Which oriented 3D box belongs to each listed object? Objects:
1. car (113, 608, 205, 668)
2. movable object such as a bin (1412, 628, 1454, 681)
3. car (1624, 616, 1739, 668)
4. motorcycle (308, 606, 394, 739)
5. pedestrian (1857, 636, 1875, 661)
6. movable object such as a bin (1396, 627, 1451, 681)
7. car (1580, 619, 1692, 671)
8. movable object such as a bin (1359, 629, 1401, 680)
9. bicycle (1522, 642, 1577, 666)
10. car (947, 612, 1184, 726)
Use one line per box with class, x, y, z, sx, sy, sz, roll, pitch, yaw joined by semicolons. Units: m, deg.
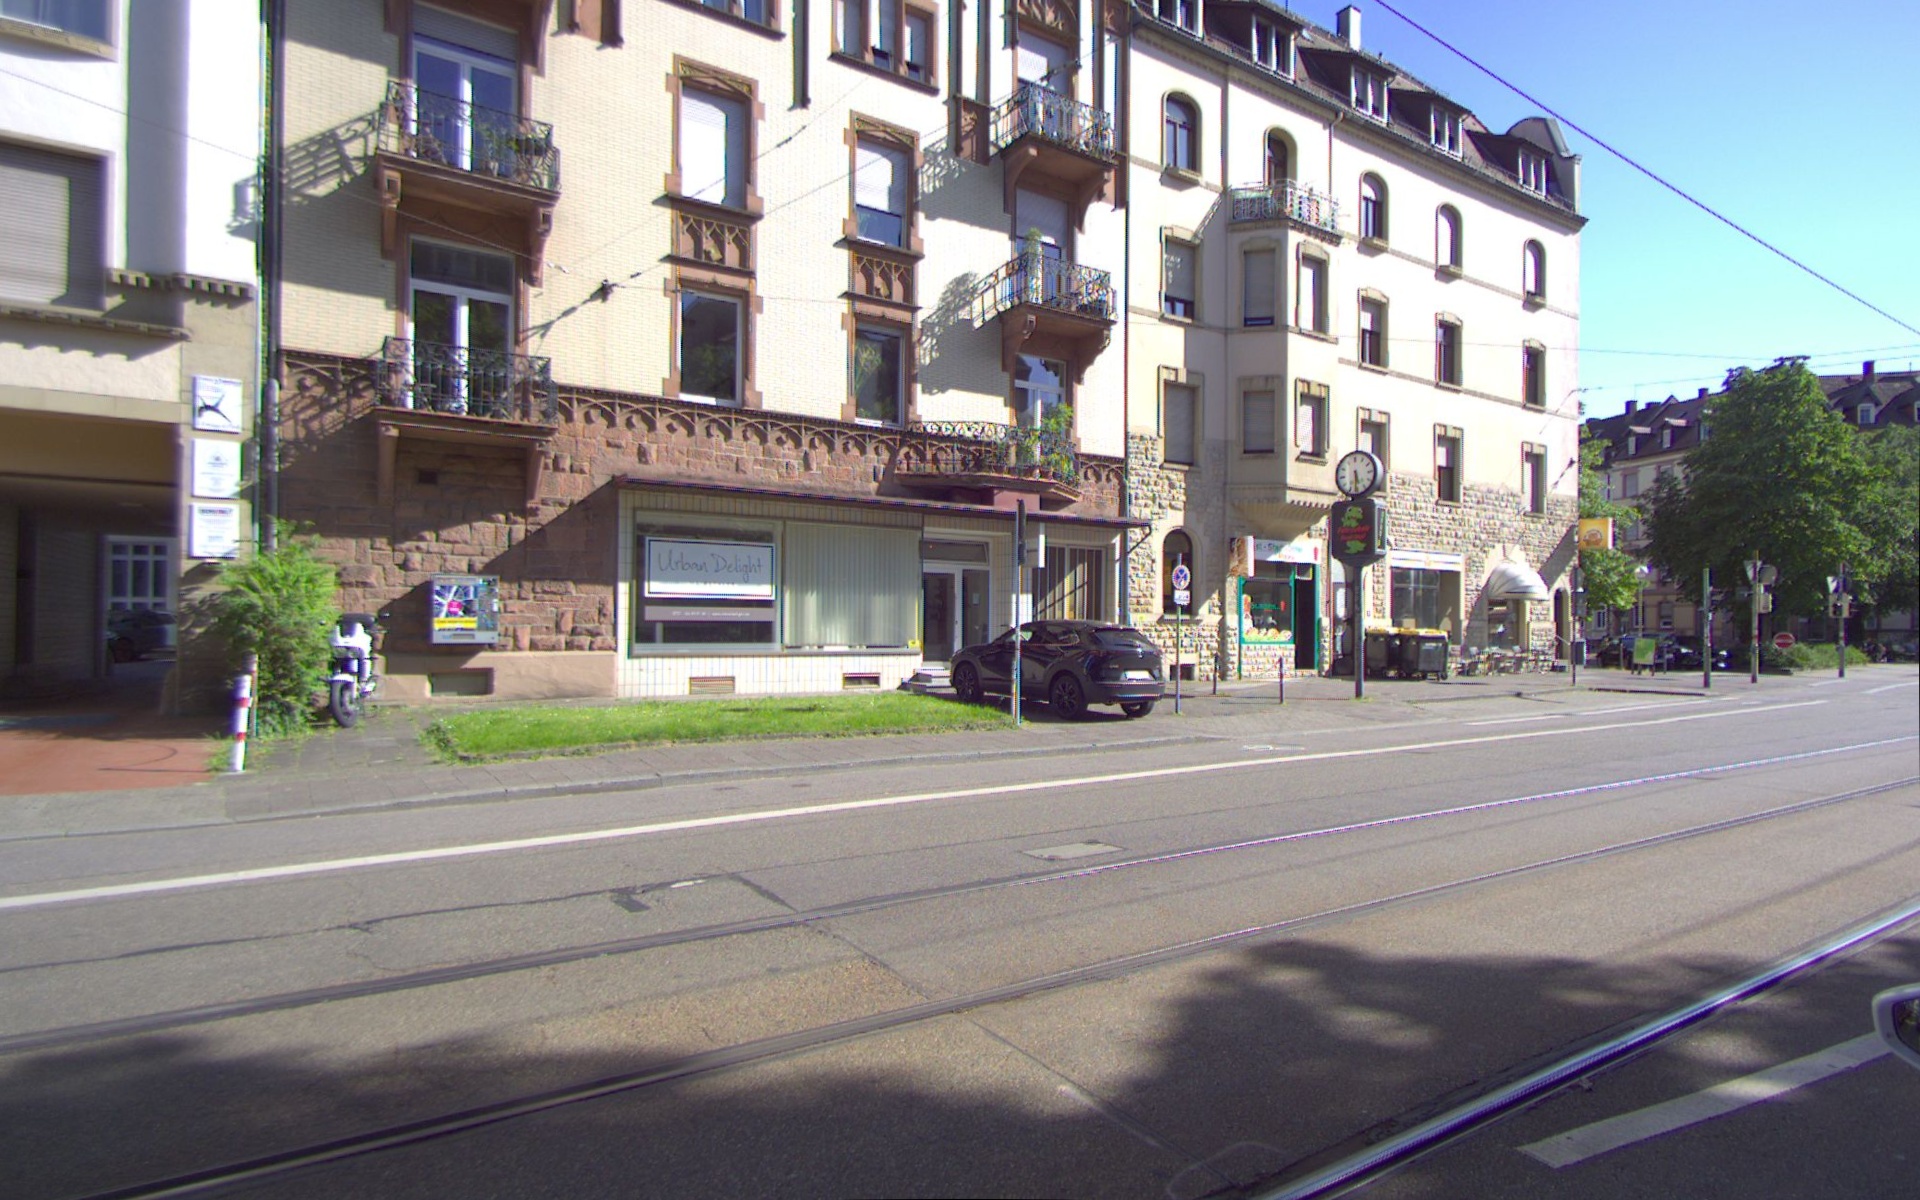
car;-24.589;1.127;30.792;1.985;1.628;3.951;2;-1;-41
movable object such as a bin;13.148;1.494;27.921;0.840;1.399;1.028;1;-1;14
car;30.847;1.758;43.101;1.961;2.040;3.999;2;-1;-2
motorcycle;-7.870;0.843;12.922;0.815;1.476;3.066;2;-1;-33
pedestrian;44.513;2.398;49.350;0.570;1.217;0.605;-1;-2;39
movable object such as a bin;12.496;1.459;27.096;1.012;1.399;0.854;2;-1;-19
car;28.608;1.864;42.679;1.961;2.040;3.999;2;-1;-2
movable object such as a bin;11.414;1.467;27.318;0.647;1.343;0.854;2;-1;-19
bicycle;26.012;2.377;44.307;1.997;0.993;0.611;2;-1;7
car;1.669;1.079;17.117;1.756;1.523;3.957;2;1;-37
